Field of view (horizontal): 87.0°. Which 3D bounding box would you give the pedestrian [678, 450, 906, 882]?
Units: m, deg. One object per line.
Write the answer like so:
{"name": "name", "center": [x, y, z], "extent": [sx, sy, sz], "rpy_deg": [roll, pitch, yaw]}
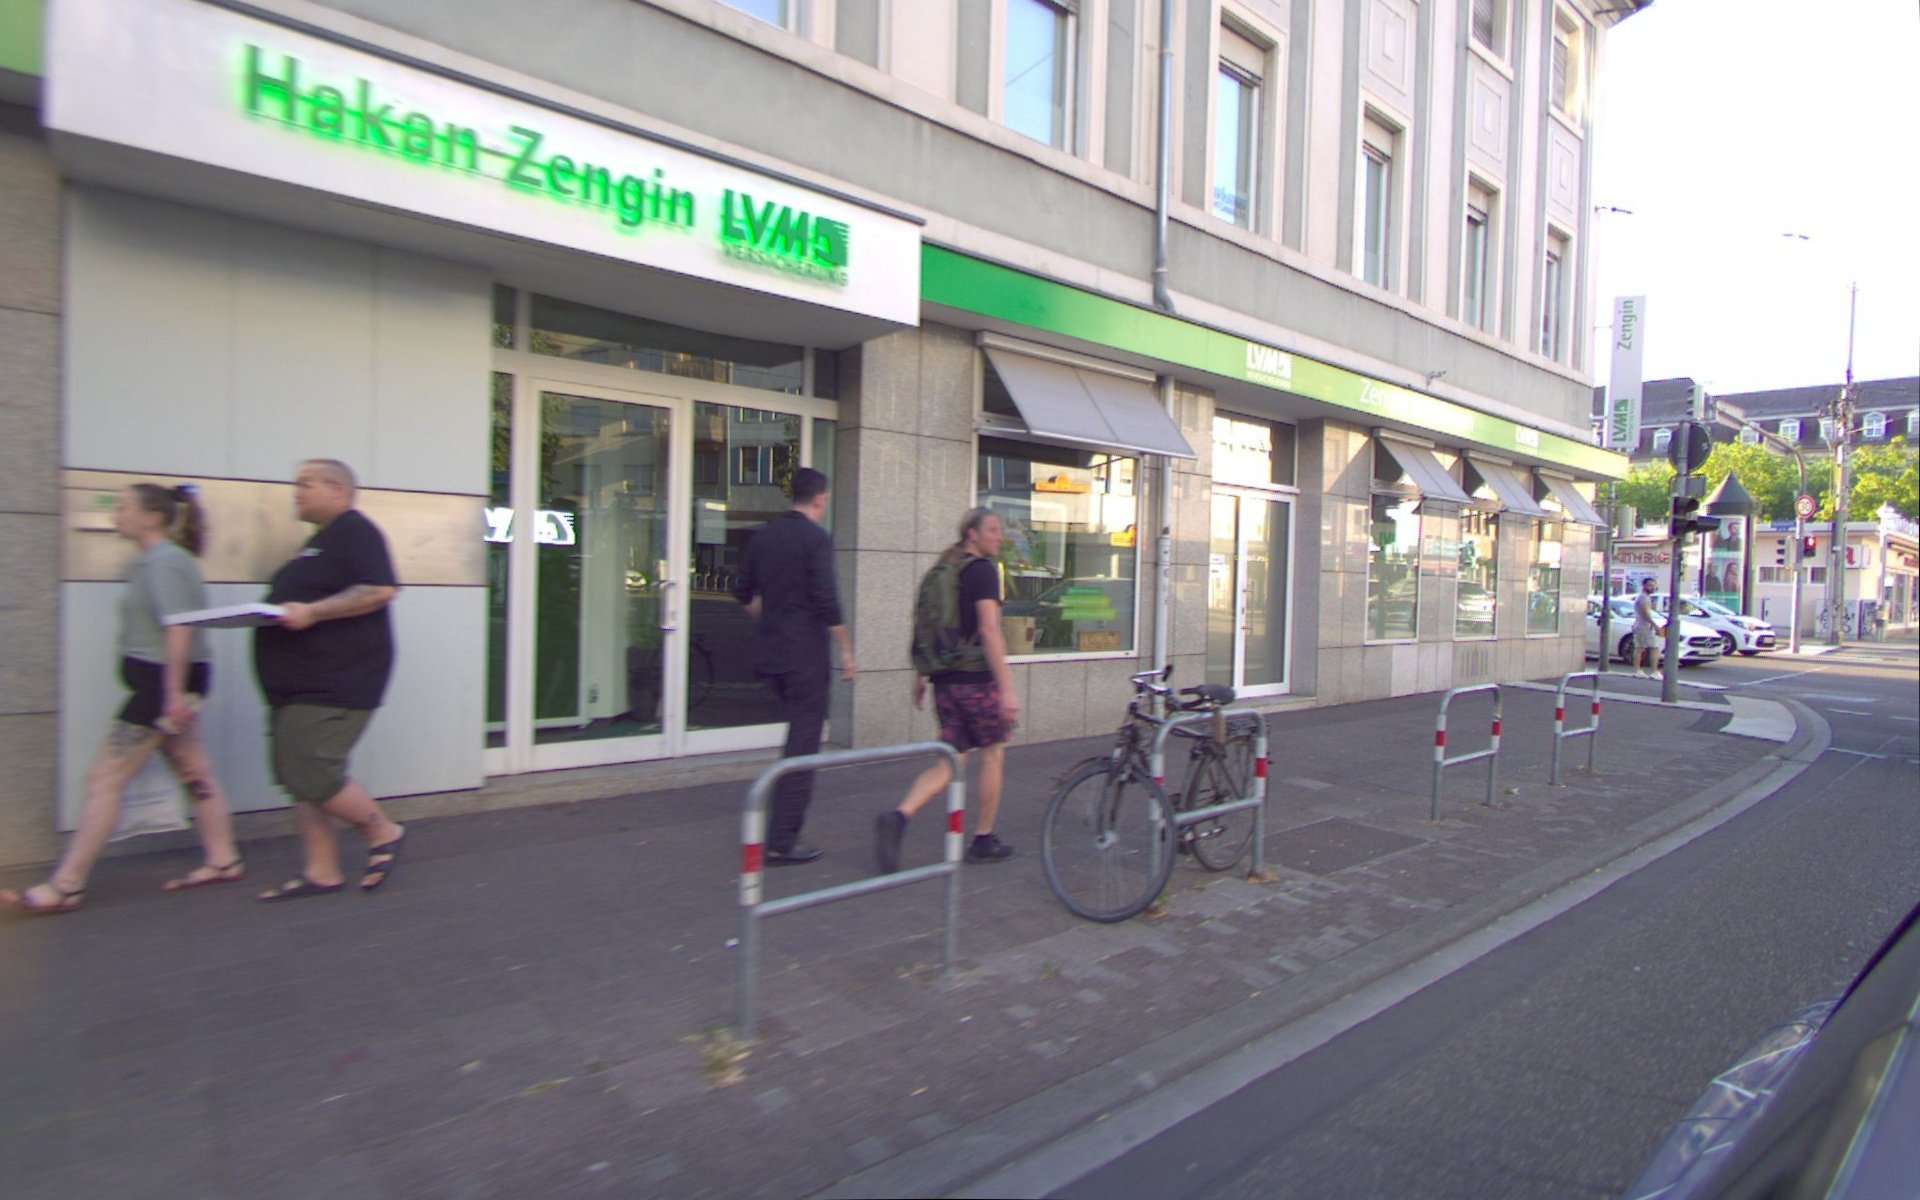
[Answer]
{"name": "pedestrian", "center": [-0.844, 0.283, 5.095], "extent": [0.864, 1.951, 0.662], "rpy_deg": [0, 2, -42]}

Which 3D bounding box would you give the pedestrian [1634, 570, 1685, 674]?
{"name": "pedestrian", "center": [12.257, 0.362, 17.749], "extent": [0.649, 1.764, 0.686], "rpy_deg": [2, 1, 33]}

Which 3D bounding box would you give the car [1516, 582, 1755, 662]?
{"name": "car", "center": [14.643, 0.414, 22.207], "extent": [1.790, 1.490, 3.994], "rpy_deg": [0, 2, -23]}

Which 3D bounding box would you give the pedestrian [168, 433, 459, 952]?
{"name": "pedestrian", "center": [-2.652, 0.309, 4.138], "extent": [0.911, 1.828, 0.768], "rpy_deg": [0, 3, -39]}

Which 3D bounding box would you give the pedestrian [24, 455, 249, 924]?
{"name": "pedestrian", "center": [-3.390, 0.313, 4.195], "extent": [0.666, 1.739, 0.651], "rpy_deg": [0, 4, -39]}

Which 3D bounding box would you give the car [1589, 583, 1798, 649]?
{"name": "car", "center": [18.765, 0.355, 26.082], "extent": [1.685, 1.490, 3.990], "rpy_deg": [1, 2, -31]}

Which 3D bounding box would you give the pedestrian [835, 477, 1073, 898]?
{"name": "pedestrian", "center": [-0.033, 0.368, 4.988], "extent": [0.836, 1.851, 0.739], "rpy_deg": [0, 3, -42]}

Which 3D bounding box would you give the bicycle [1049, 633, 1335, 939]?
{"name": "bicycle", "center": [1.127, 0.768, 4.743], "extent": [1.465, 1.161, 0.534], "rpy_deg": [0, 2, -42]}
